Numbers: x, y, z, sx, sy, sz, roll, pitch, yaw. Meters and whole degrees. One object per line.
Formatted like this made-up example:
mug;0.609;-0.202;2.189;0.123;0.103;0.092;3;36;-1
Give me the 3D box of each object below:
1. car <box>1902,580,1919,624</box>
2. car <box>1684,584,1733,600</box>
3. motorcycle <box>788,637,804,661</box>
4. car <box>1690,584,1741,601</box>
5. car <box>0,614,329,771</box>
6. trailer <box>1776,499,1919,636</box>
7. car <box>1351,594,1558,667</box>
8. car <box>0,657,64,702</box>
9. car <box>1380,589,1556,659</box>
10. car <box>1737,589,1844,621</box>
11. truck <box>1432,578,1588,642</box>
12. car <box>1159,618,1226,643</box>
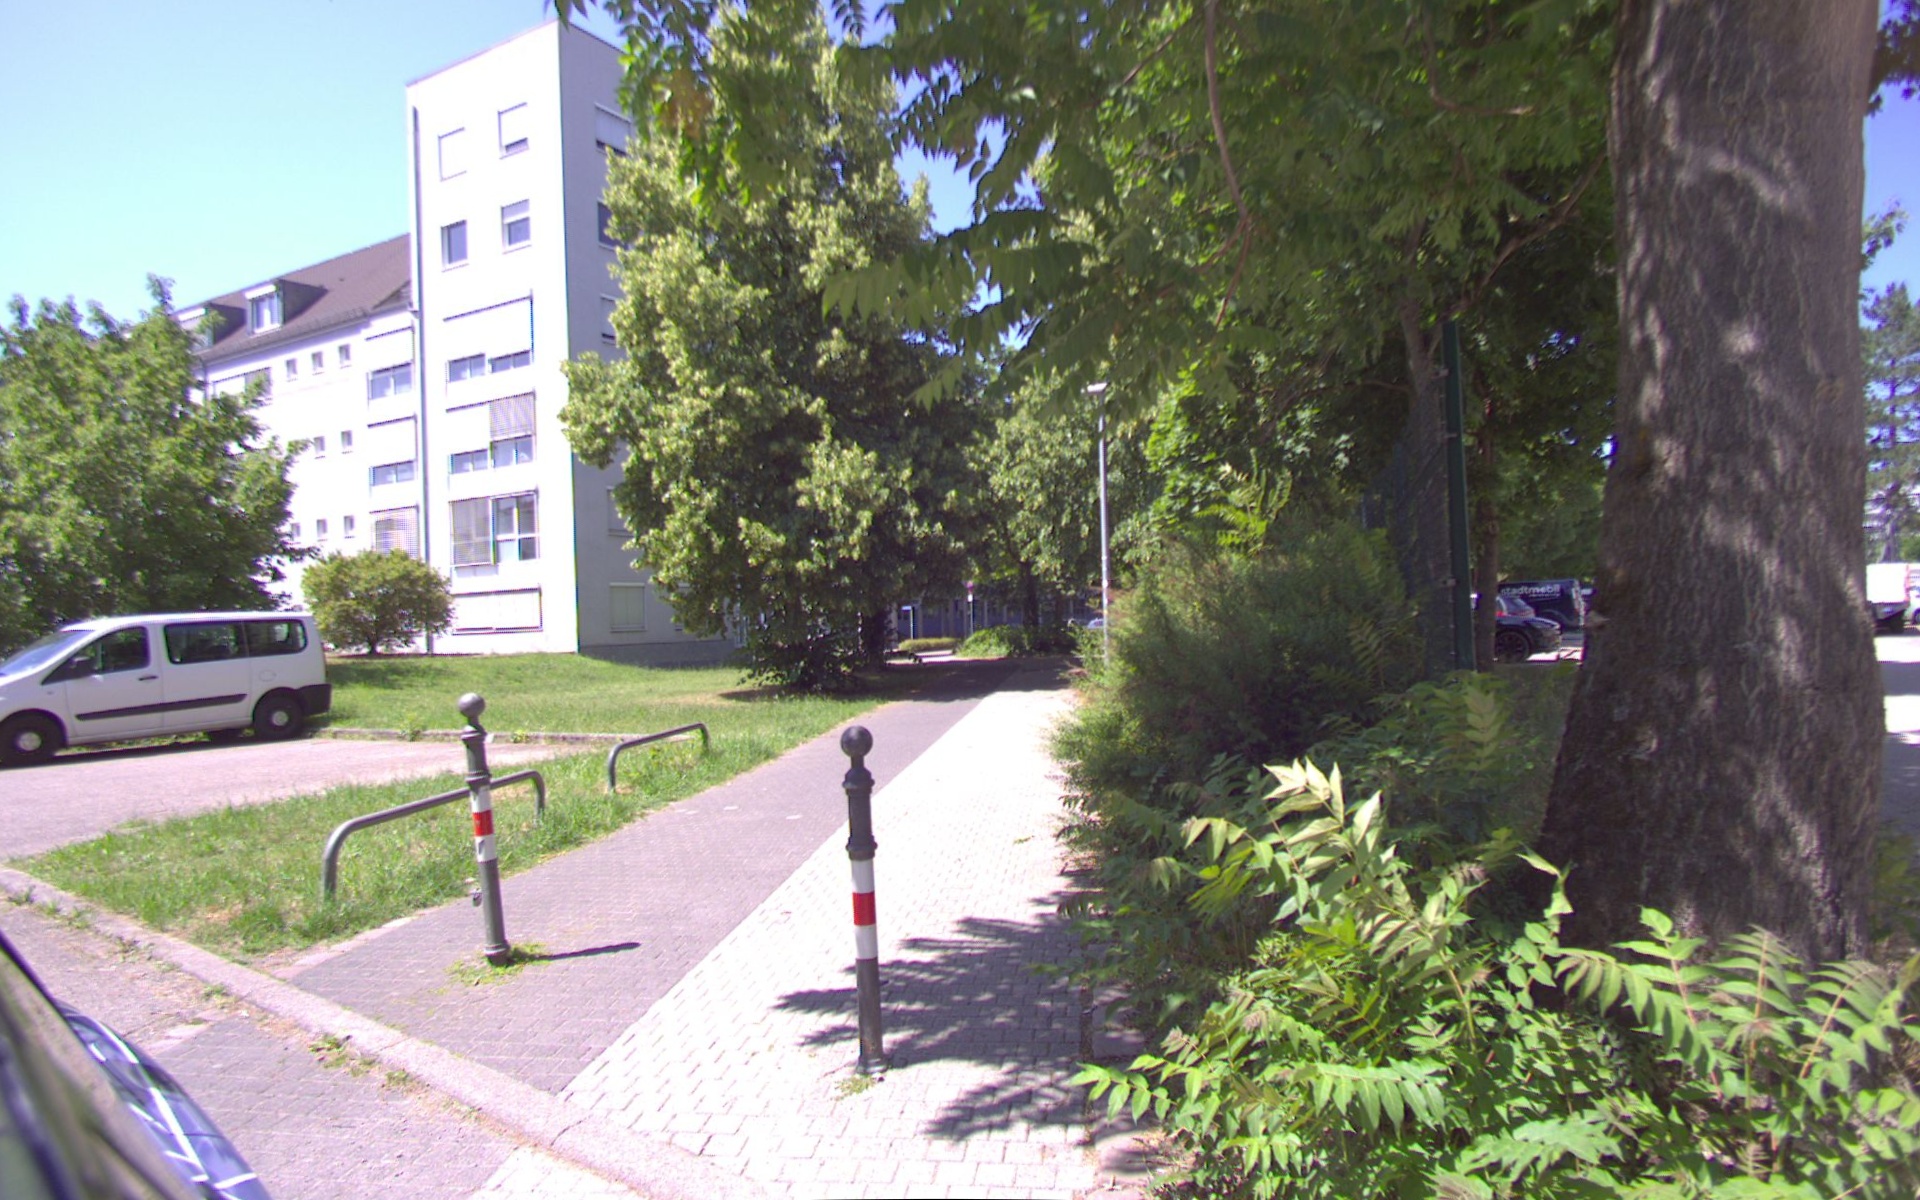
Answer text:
car;33.435;0.003;32.933;3.781;1.420;1.720;-2;-1;35
car;73.467;-0.753;99.395;3.781;1.420;1.720;-2;-1;35
motorcycle;-8.721;2.603;53.998;0.689;1.176;2.306;-2;-1;-6
car;71.676;-0.725;96.057;3.781;1.420;1.720;-2;-1;35
car;-11.944;1.213;14.333;1.991;1.926;4.757;-4;-3;28
trailer;26.214;-0.844;29.759;3.041;3.447;8.652;-2;-1;41
car;11.163;0.702;22.943;3.990;1.514;1.670;-2;-1;35
car;-32.427;2.668;33.403;1.704;1.447;3.959;-3;-2;29
car;12.821;0.630;25.577;3.779;1.647;1.827;-2;-1;33
car;39.556;0.248;48.309;3.781;1.420;1.720;-2;-1;35
truck;18.715;0.368;34.527;4.448;2.009;1.976;-2;-1;35
car;13.170;1.708;57.319;3.473;1.253;1.741;-3;-2;19
